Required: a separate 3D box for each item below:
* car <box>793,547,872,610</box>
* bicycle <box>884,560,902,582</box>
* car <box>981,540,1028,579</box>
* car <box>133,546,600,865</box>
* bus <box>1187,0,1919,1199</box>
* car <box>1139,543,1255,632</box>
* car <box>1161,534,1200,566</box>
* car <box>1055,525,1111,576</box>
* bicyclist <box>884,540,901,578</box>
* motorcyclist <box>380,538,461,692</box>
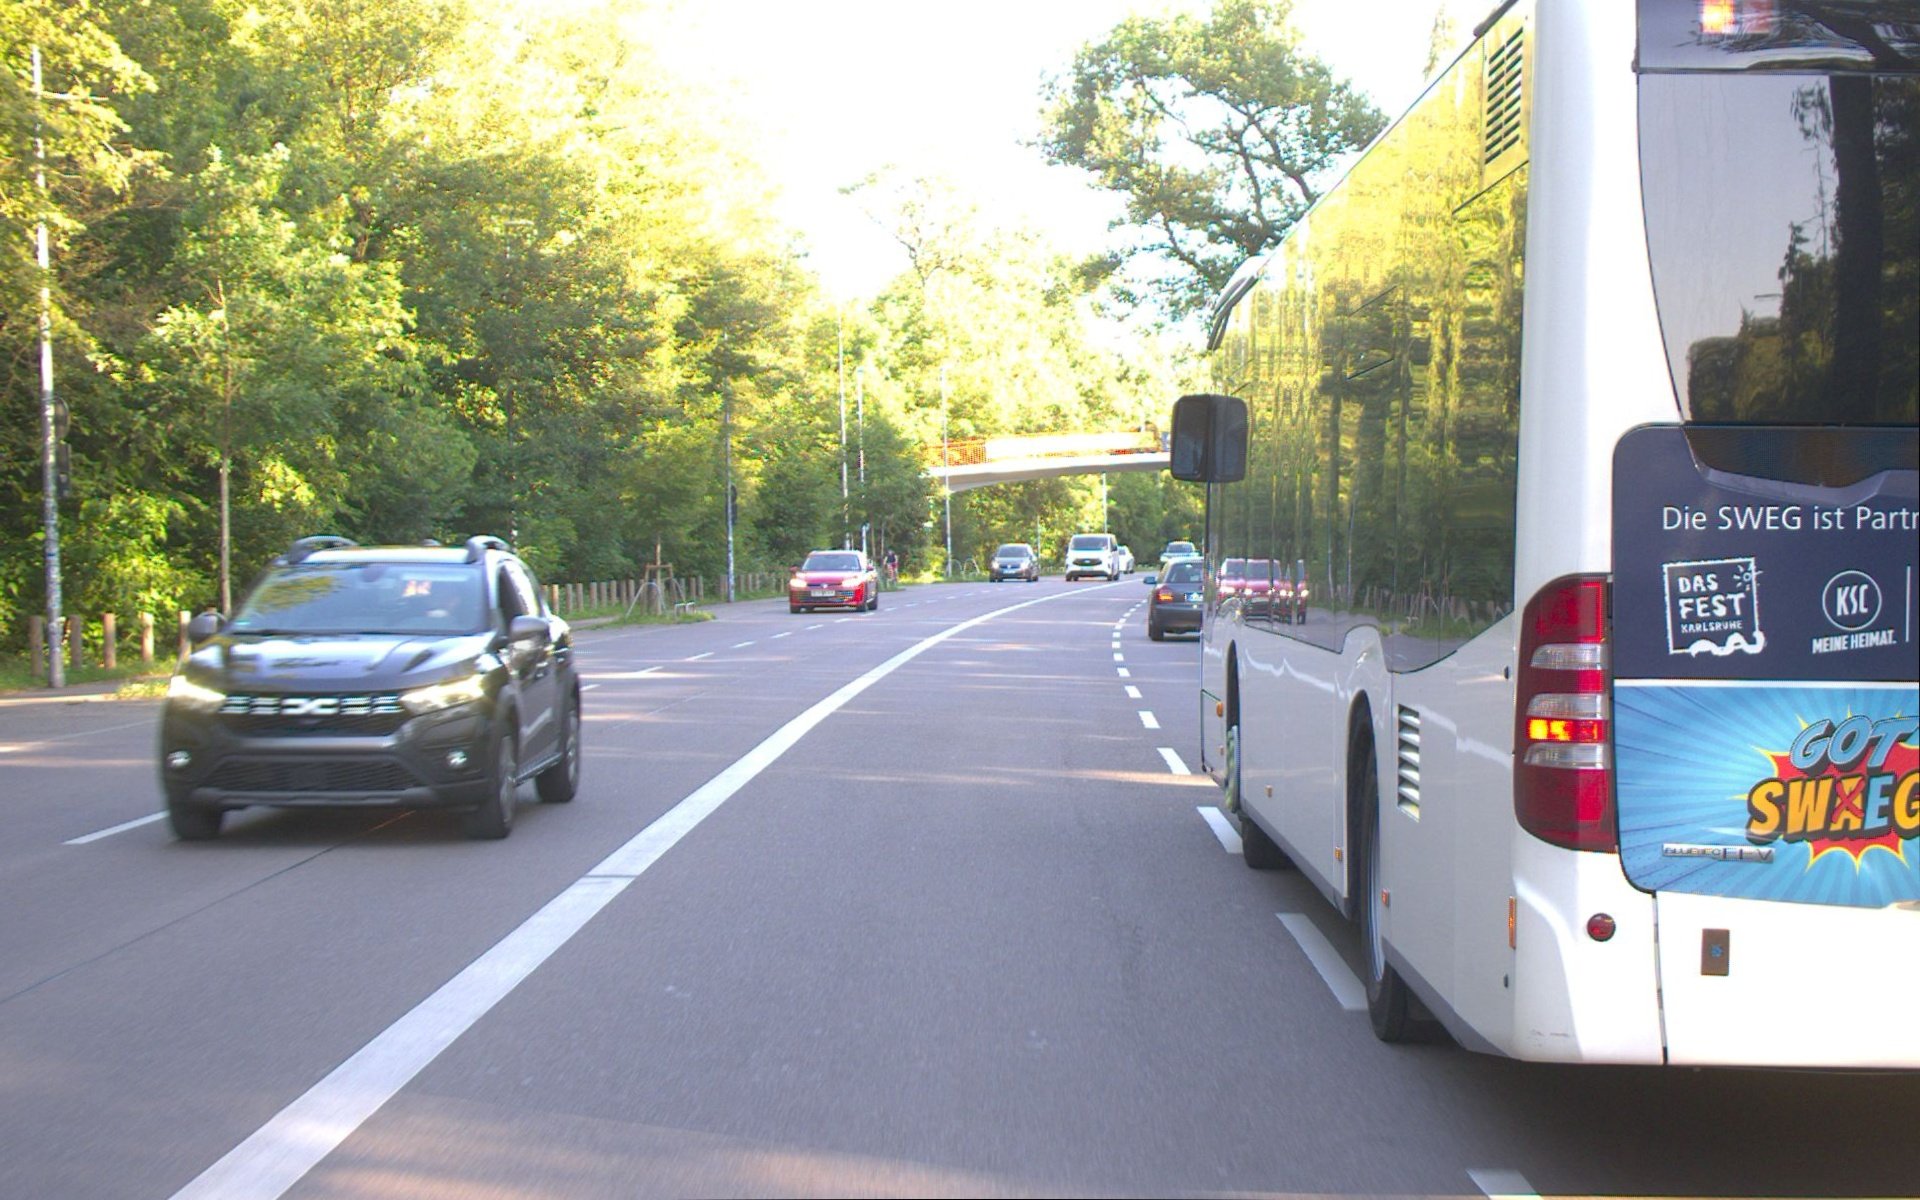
[{"bbox_3d":[-3.075,-0.551,83.461,1.823,1.457,4.925,-1,1,-1],"label":"car"},{"bbox_3d":[-2.661,-1.138,136.861,0.495,0.811,1.808,-4,1,5],"label":"bicycle"},{"bbox_3d":[1.886,-1.707,143.389,1.800,1.594,4.000,-1,1,3],"label":"car"},{"bbox_3d":[-3.155,0.494,19.084,1.805,1.539,4.090,-1,1,1],"label":"car"},{"bbox_3d":[2.540,-0.170,13.242,2.704,3.211,12.279,0,1,1],"label":"bus"},{"bbox_3d":[3.950,-0.236,57.909,1.728,1.436,4.090,-1,1,1],"label":"car"},{"bbox_3d":[12.011,-2.717,187.333,1.918,1.698,4.441,-1,1,6],"label":"car"},{"bbox_3d":[5.190,-2.107,145.055,2.206,1.954,4.913,-4,1,2],"label":"car"},{"bbox_3d":[-2.692,-1.636,136.867,0.499,1.479,0.761,-3,1,5],"label":"bicyclist"},{"bbox_3d":[-5.491,0.145,35.019,0.656,1.535,0.905,-1,1,0],"label":"motorcyclist"}]
